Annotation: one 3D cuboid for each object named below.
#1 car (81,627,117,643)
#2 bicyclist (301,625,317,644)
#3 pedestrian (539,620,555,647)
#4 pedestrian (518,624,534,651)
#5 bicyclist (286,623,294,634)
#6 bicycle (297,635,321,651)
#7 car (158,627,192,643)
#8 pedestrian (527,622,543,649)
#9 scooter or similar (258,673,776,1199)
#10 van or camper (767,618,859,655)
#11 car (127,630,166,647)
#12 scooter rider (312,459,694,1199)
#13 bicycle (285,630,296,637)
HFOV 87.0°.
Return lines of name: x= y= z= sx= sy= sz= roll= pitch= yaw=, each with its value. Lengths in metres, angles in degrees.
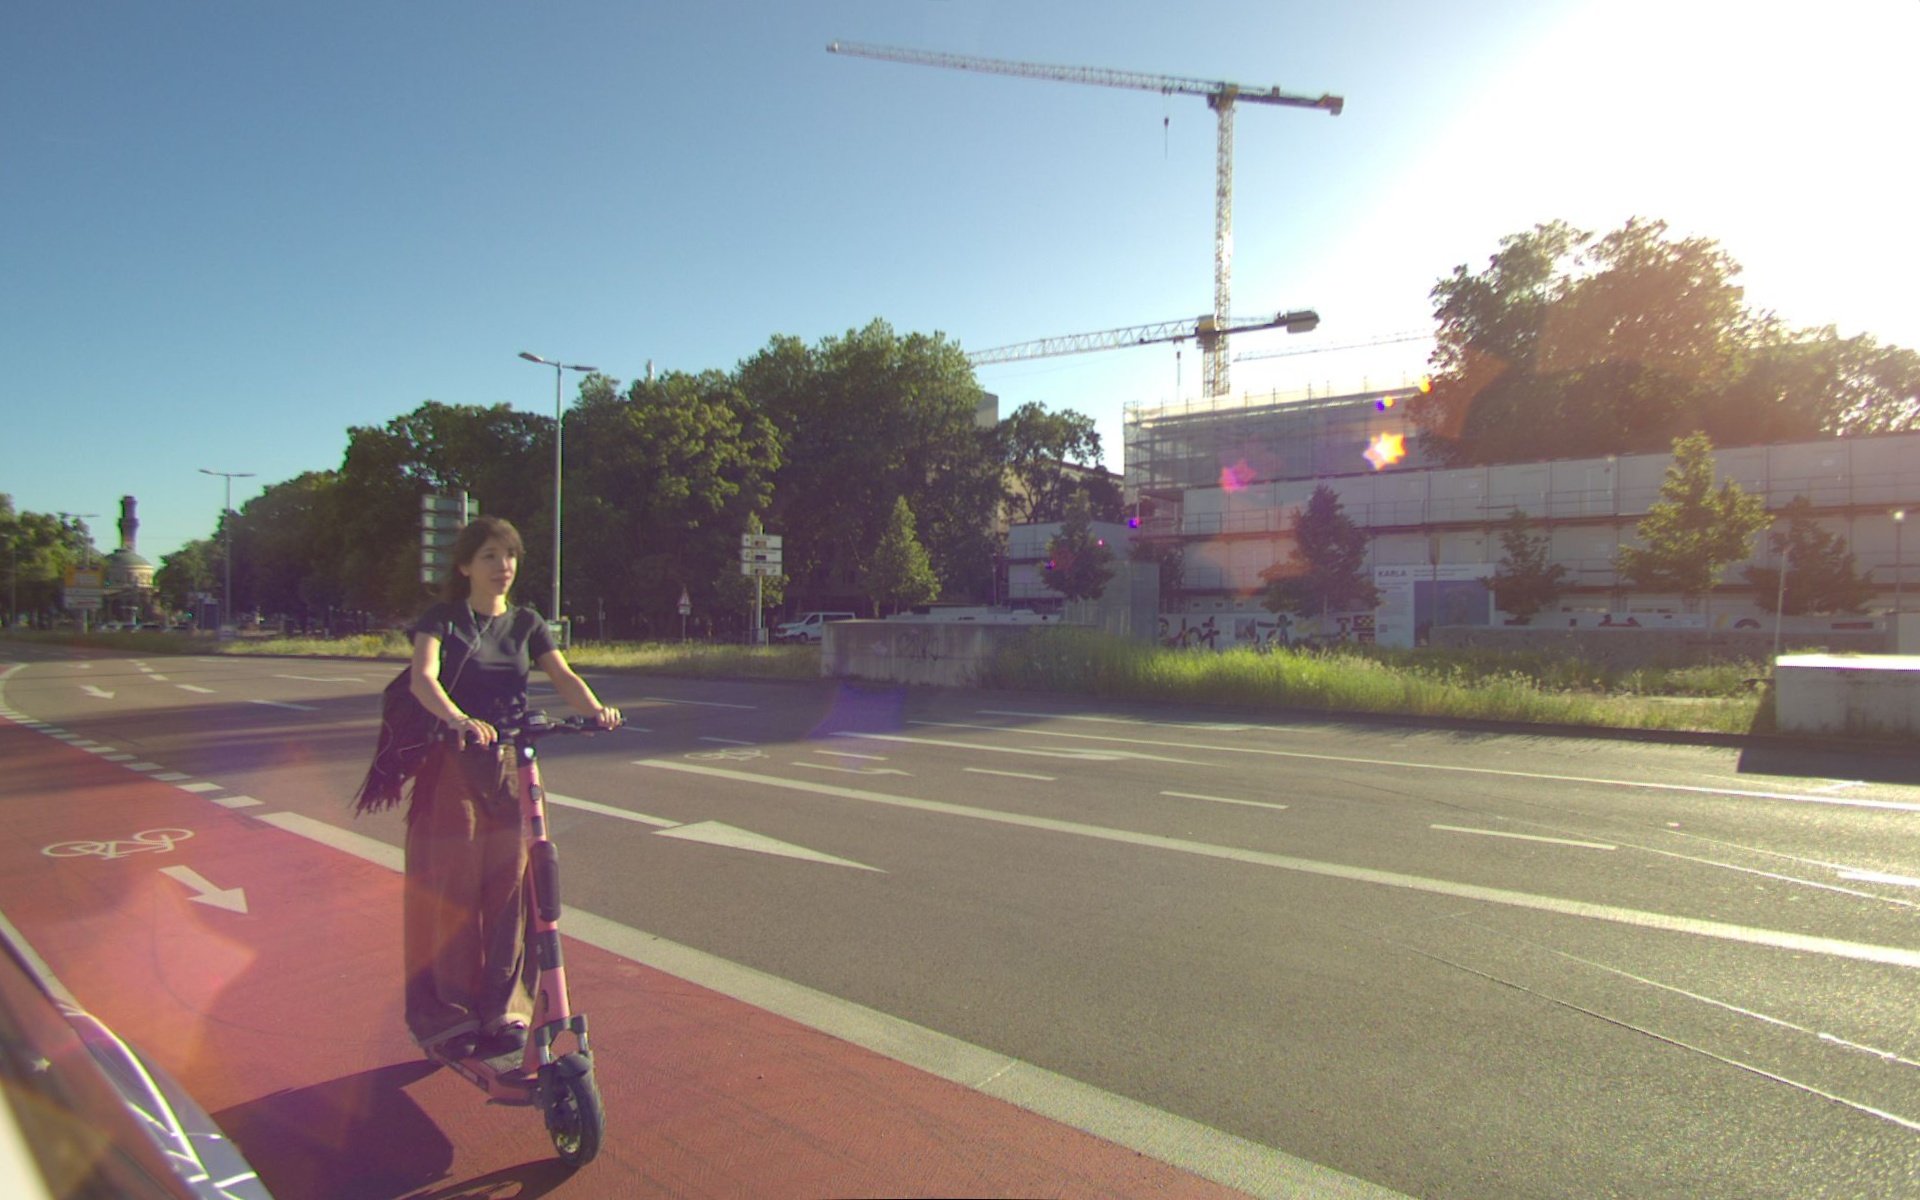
car: x=-80.955 y=3.288 z=95.187 sx=3.995 sy=1.409 sz=1.849 roll=-1 pitch=-2 yaw=39
bicyclist: x=-44.391 y=2.339 z=69.015 sx=0.884 sy=1.292 sz=0.631 roll=-1 pitch=-2 yaw=36
pedestrian: x=-27.120 y=2.177 z=66.478 sx=0.762 sy=1.738 sz=0.698 roll=-1 pitch=-2 yaw=41
pedestrian: x=-27.923 y=2.413 z=65.101 sx=0.762 sy=1.738 sz=0.698 roll=-1 pitch=-2 yaw=41
bicyclist: x=-76.307 y=3.276 z=115.297 sx=0.600 sy=1.291 sz=0.717 roll=1 pitch=-2 yaw=-18
bicycle: x=-44.424 y=2.919 z=69.025 sx=2.239 sy=1.030 sz=0.631 roll=-1 pitch=-2 yaw=36
car: x=-76.792 y=3.449 z=98.966 sx=4.000 sy=1.519 sz=1.972 roll=-1 pitch=-2 yaw=43
pedestrian: x=-27.669 y=2.297 z=65.847 sx=0.762 sy=1.738 sz=0.656 roll=-1 pitch=-2 yaw=41
scooter or similar: x=-1.335 y=0.859 z=2.893 sx=1.664 sy=1.211 sz=0.721 roll=-1 pitch=-1 yaw=41
van or camper: x=-8.936 y=2.159 z=61.943 sx=1.948 sy=2.029 sz=5.576 roll=-1 pitch=0 yaw=42
car: x=-69.746 y=3.295 z=86.776 sx=3.996 sy=1.409 sz=1.849 roll=-1 pitch=-2 yaw=40
scooter rider: x=-1.302 y=0.574 z=2.889 sx=0.811 sy=1.788 sz=0.721 roll=-1 pitch=-1 yaw=41
bicycle: x=-76.309 y=3.832 z=115.283 sx=0.600 sy=0.849 sz=1.751 roll=1 pitch=-1 yaw=-18
